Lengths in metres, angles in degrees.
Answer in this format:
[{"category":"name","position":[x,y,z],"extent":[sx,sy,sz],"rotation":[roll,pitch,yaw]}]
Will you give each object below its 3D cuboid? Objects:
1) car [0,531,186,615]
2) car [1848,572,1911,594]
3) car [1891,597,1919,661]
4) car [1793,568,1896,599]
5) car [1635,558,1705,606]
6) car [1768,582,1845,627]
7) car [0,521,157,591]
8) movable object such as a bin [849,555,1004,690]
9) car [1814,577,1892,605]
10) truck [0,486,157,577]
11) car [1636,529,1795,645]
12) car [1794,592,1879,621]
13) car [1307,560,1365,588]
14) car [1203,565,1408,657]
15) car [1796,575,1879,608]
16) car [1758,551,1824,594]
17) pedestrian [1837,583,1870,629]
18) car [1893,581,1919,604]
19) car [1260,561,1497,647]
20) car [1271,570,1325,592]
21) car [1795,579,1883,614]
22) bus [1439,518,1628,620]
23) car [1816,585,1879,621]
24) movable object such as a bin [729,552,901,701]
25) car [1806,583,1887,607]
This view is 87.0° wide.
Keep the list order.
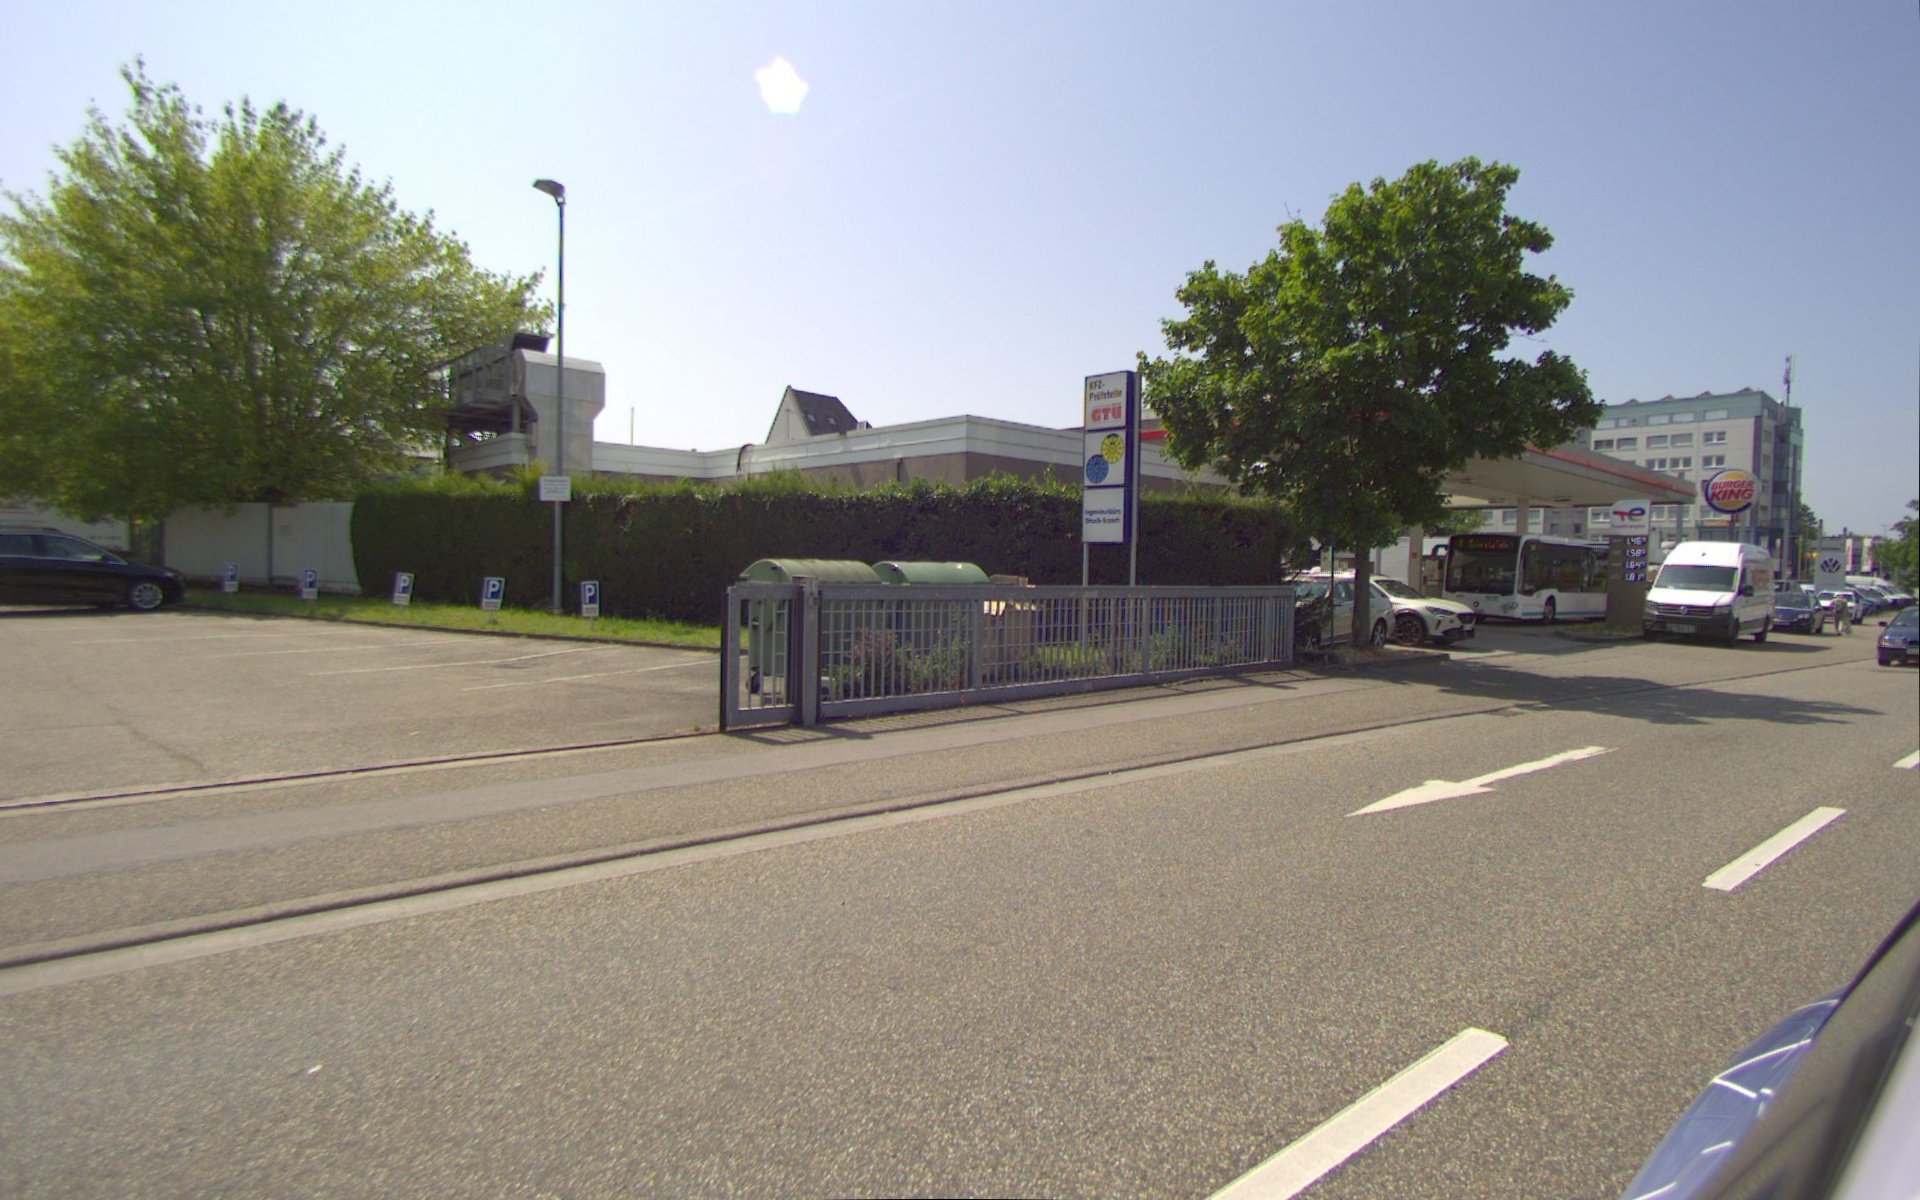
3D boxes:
[{"category":"car","position":[-17.132,-0.524,18.936],"extent":[1.504,1.490,3.958],"rotation":[3,2,30]},{"category":"car","position":[80.568,-1.483,88.674],"extent":[3.988,1.787,1.698],"rotation":[4,3,44]},{"category":"car","position":[22.541,0.642,23.070],"extent":[3.693,1.356,1.630],"rotation":[0,1,-43]},{"category":"car","position":[81.140,-1.583,93.000],"extent":[1.690,2.636,6.902],"rotation":[1,2,-28]},{"category":"car","position":[38.890,-0.984,55.348],"extent":[5.483,2.465,2.055],"rotation":[-1,3,-44]},{"category":"car","position":[31.282,0.143,37.373],"extent":[3.777,1.466,1.679],"rotation":[-1,5,-43]},{"category":"car","position":[-23.030,-1.098,25.114],"extent":[1.979,1.643,4.503],"rotation":[2,2,24]},{"category":"movable object such as a bin","position":[-0.400,0.228,12.147],"extent":[1.464,1.488,1.133],"rotation":[0,3,-41]},{"category":"car","position":[62.701,-0.654,71.112],"extent":[3.988,1.808,1.698],"rotation":[4,3,44]},{"category":"truck","position":[-32.447,-2.382,35.509],"extent":[6.521,3.044,2.208],"rotation":[0,3,-44]},{"category":"car","position":[21.244,-0.407,28.289],"extent":[7.155,2.807,2.181],"rotation":[-1,5,-43]},{"category":"car","position":[55.393,0.376,63.995],"extent":[3.988,1.597,1.698],"rotation":[4,3,44]},{"category":"car","position":[25.750,-1.767,69.306],"extent":[4.133,1.853,1.997],"rotation":[0,3,-42]},{"category":"car","position":[6.825,0.146,19.735],"extent":[4.560,1.484,1.796],"rotation":[-1,5,-43]},{"category":"car","position":[57.391,-0.577,66.222],"extent":[3.988,1.940,1.698],"rotation":[4,3,44]},{"category":"car","position":[42.148,-1.375,51.281],"extent":[3.932,2.038,1.997],"rotation":[0,3,-43]},{"category":"pedestrian","position":[32.747,0.205,37.088],"extent":[0.807,1.600,0.703],"rotation":[0,5,-43]},{"category":"car","position":[77.885,-0.533,81.510],"extent":[3.988,1.787,1.698],"rotation":[3,3,44]},{"category":"car","position":[9.479,0.007,23.267],"extent":[1.873,1.545,4.635],"rotation":[0,5,-39]},{"category":"car","position":[24.097,-1.361,72.150],"extent":[4.133,1.523,1.842],"rotation":[0,3,-42]},{"category":"car","position":[53.897,-0.237,62.090],"extent":[3.988,1.942,1.698],"rotation":[4,3,44]},{"category":"bus","position":[20.353,-1.061,35.615],"extent":[8.917,3.190,2.756],"rotation":[0,3,-40]},{"category":"car","position":[43.912,0.124,50.064],"extent":[3.932,1.600,1.858],"rotation":[-1,4,-43]},{"category":"movable object such as a bin","position":[-1.589,0.241,11.110],"extent":[1.464,1.488,1.133],"rotation":[0,3,-41]},{"category":"car","position":[59.479,-0.357,67.956],"extent":[3.988,1.466,1.698],"rotation":[4,3,44]}]
